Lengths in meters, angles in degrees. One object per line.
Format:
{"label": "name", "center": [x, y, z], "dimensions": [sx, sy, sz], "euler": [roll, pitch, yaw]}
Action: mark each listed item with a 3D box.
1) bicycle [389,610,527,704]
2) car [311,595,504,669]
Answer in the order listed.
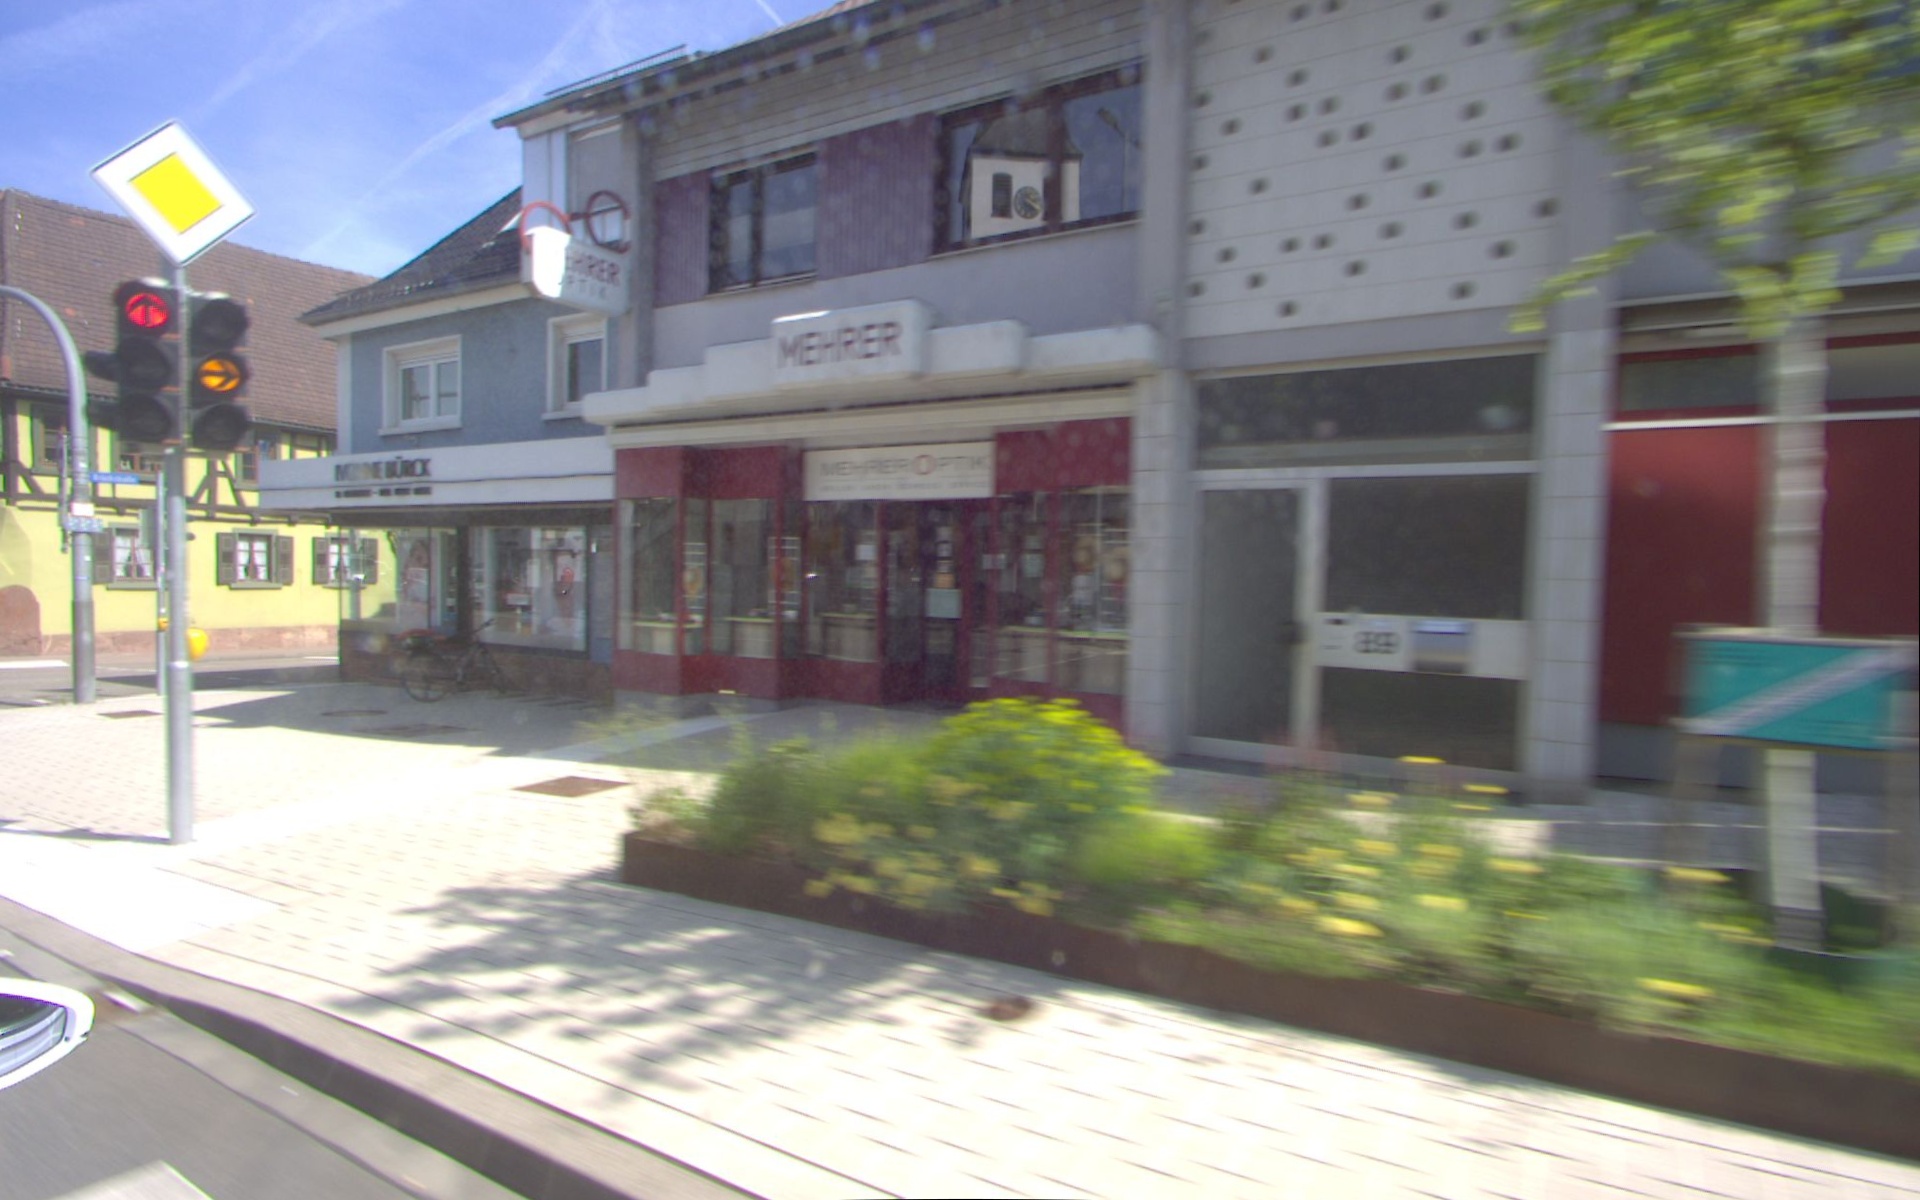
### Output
{"label": "bicycle", "center": [-7.332, 0.795, 14.709], "dimensions": [0.541, 1.251, 1.799], "euler": [2, 2, 33]}
{"label": "car", "center": [-13.481, 0.751, 24.625], "dimensions": [1.785, 1.685, 3.791], "euler": [1, -1, 34]}
